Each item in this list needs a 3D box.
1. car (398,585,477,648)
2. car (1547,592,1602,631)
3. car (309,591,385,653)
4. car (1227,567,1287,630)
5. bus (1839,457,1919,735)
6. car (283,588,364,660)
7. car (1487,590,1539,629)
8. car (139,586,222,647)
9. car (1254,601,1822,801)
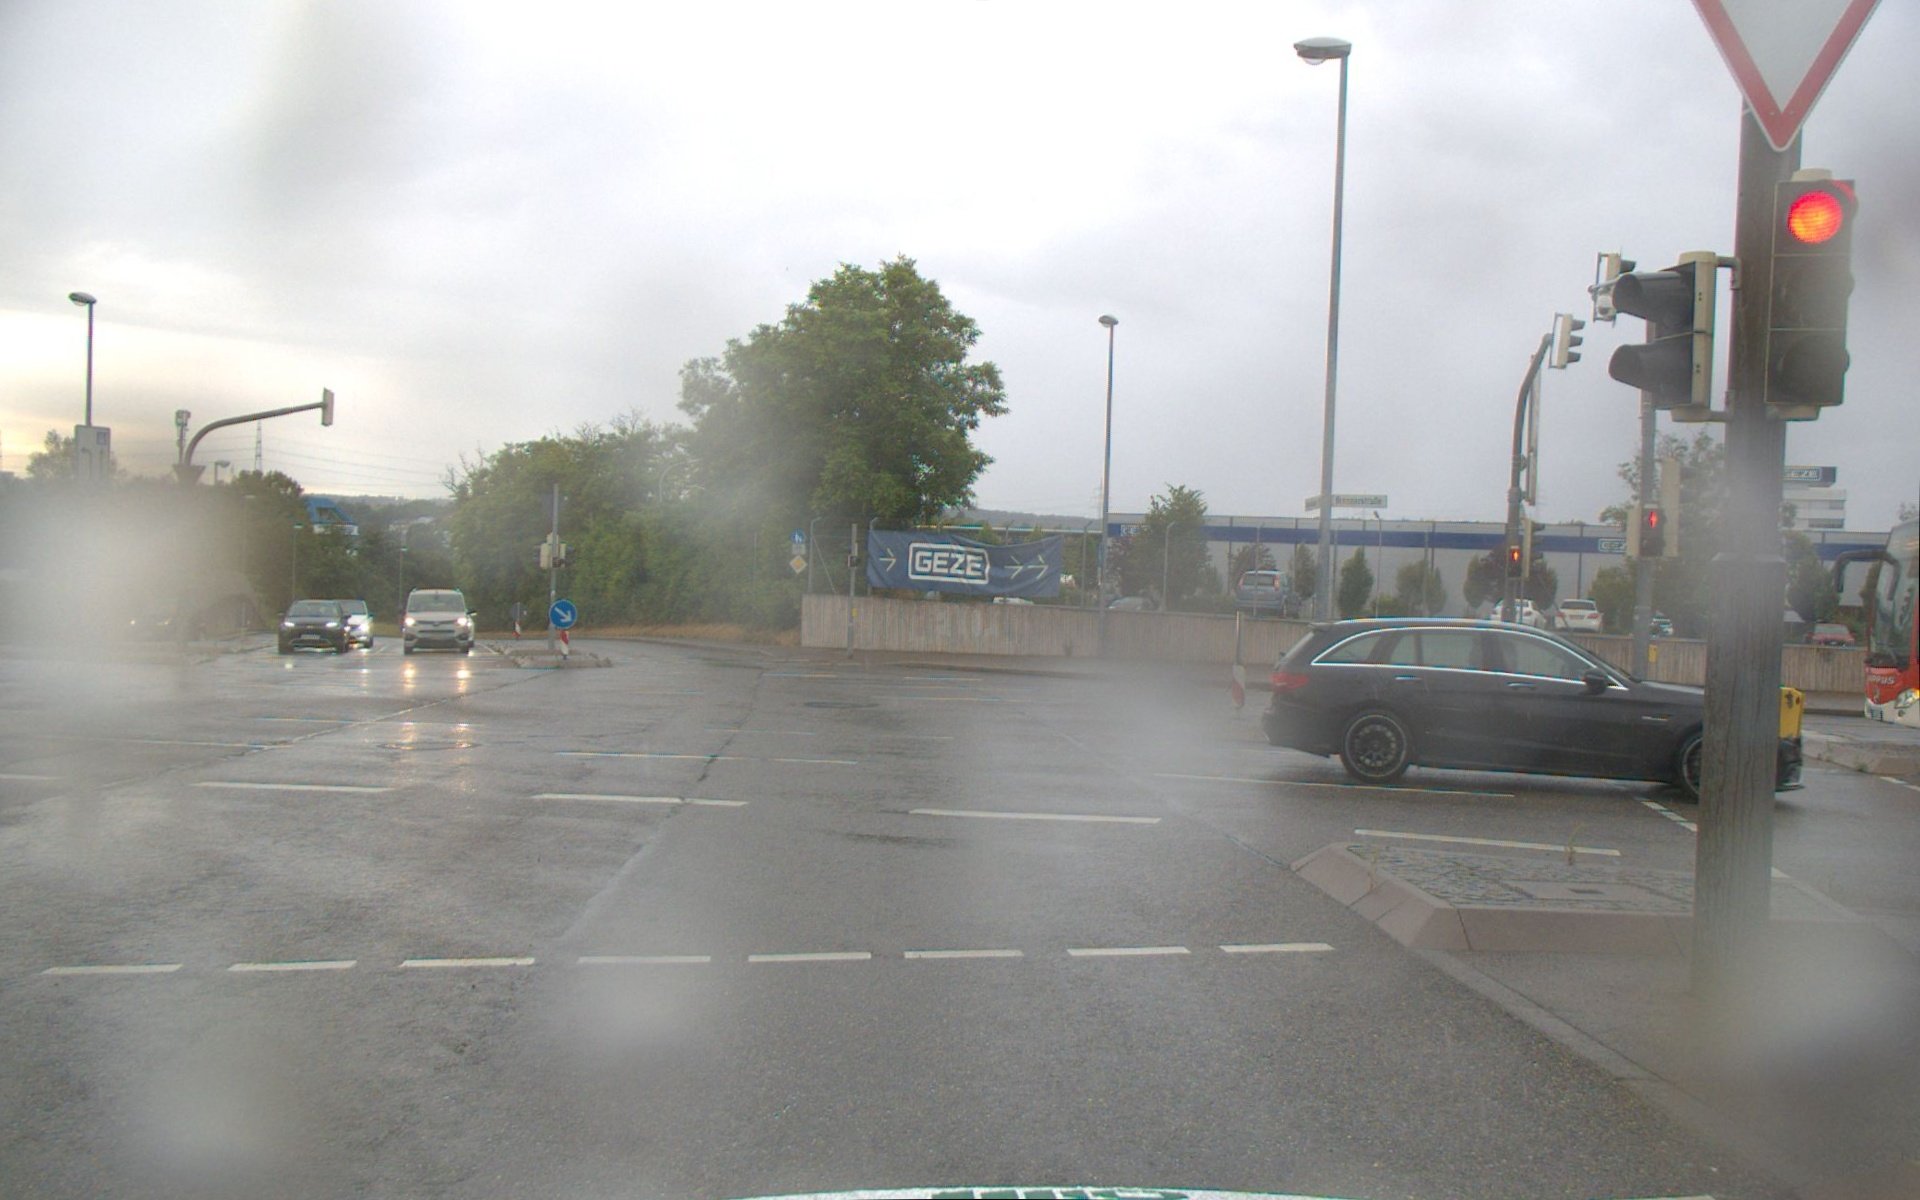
[{"bbox_3d":[-14.925,0.443,47.421,1.961,1.646,3.984,1,1,-15],"label":"car"},{"bbox_3d":[25.255,0.463,68.068,1.952,1.504,4.001,2,1,19],"label":"car"},{"bbox_3d":[-20.373,0.701,55.082,1.961,1.928,3.984,1,0,-15],"label":"car"},{"bbox_3d":[10.392,-0.058,57.852,1.951,2.049,4.003,1,0,11],"label":"car"},{"bbox_3d":[17.642,0.216,19.862,12.020,3.379,3.076,3,1,17],"label":"bus"},{"bbox_3d":[-18.406,0.665,47.953,1.963,1.928,3.979,1,0,-19],"label":"car"},{"bbox_3d":[22.959,0.394,68.657,1.952,1.504,4.001,2,1,19],"label":"car"},{"bbox_3d":[-26.377,0.522,56.086,1.962,1.928,3.981,1,0,-18],"label":"car"},{"bbox_3d":[5.090,0.830,15.102,4.560,1.502,2.002,2,0,15],"label":"car"}]
